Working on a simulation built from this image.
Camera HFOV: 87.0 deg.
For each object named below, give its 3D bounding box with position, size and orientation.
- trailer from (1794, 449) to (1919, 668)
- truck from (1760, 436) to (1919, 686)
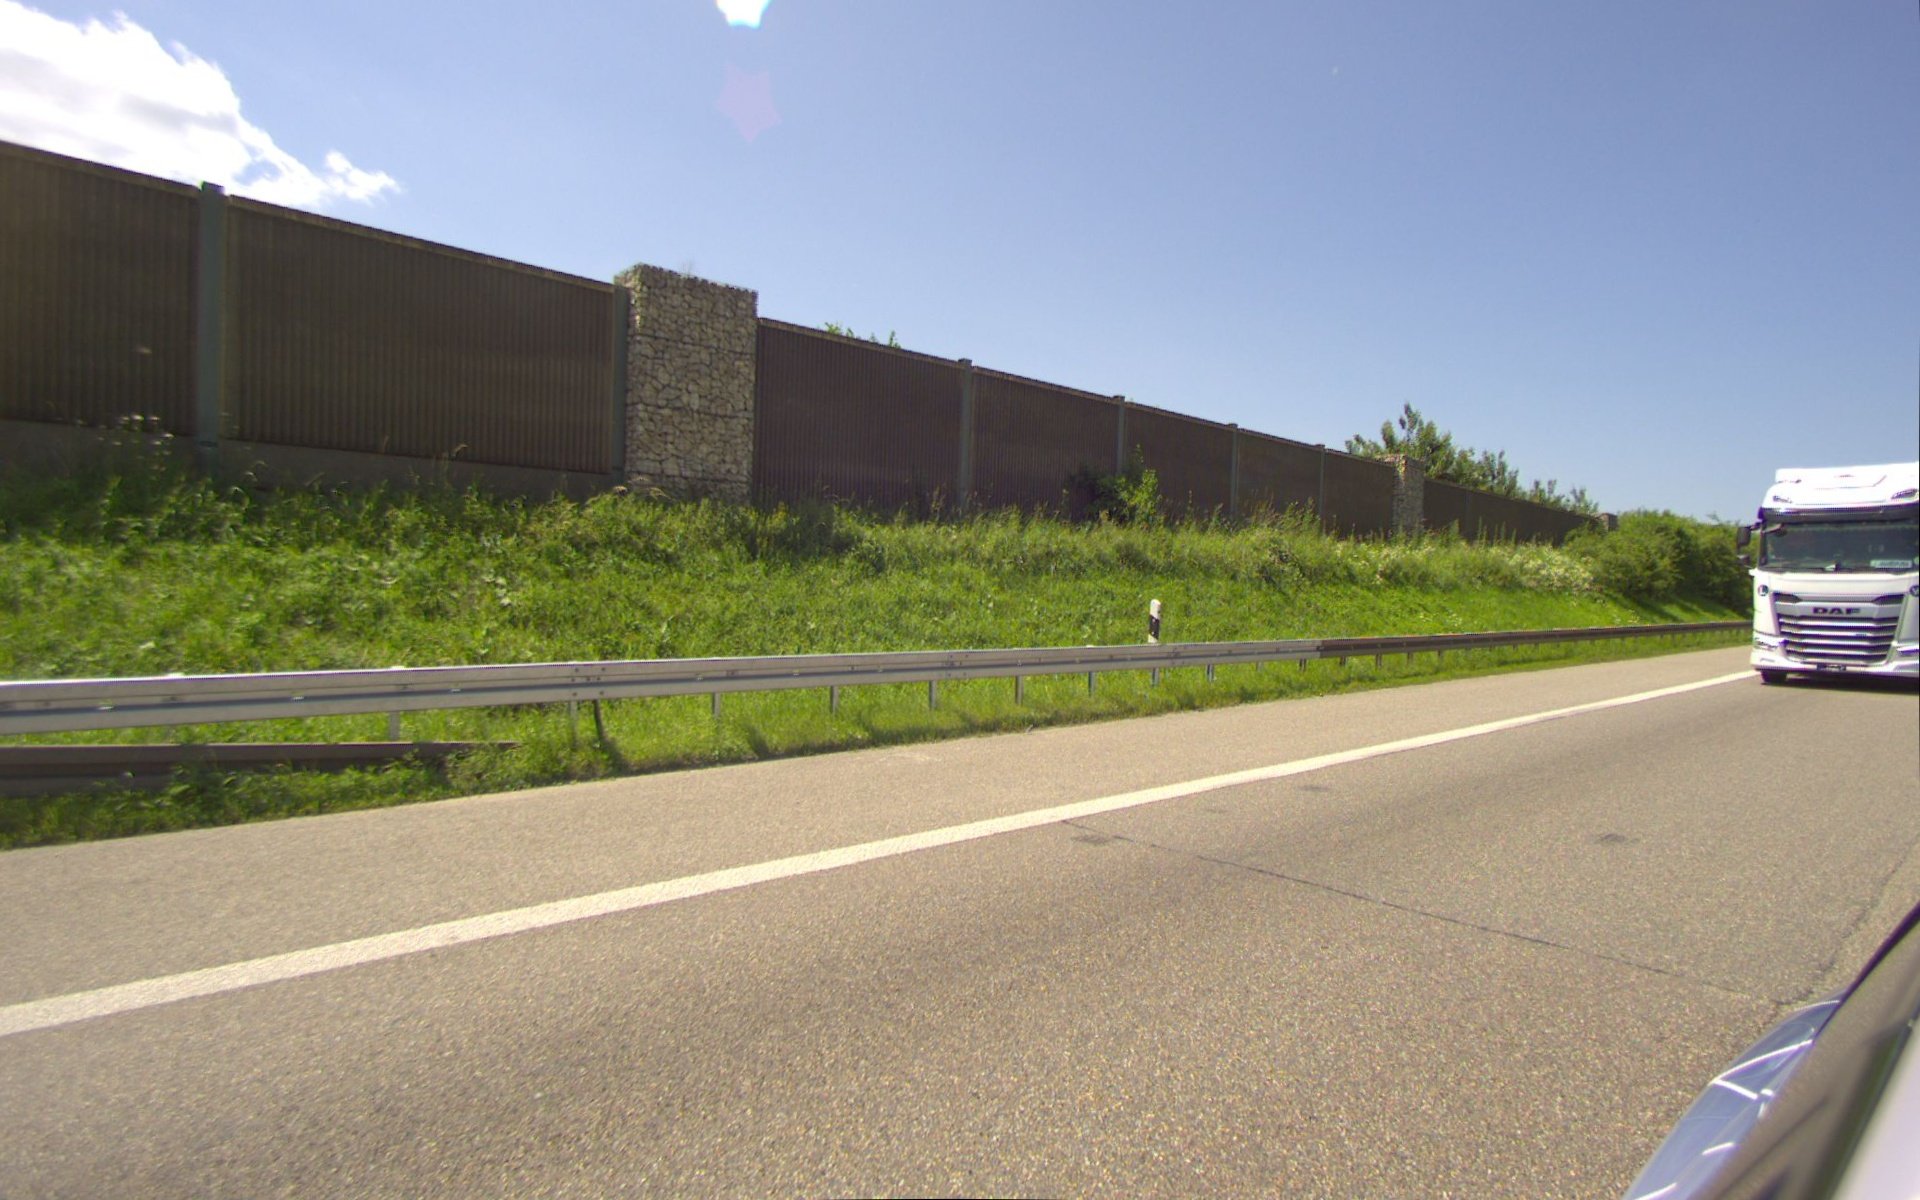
[{"bbox_3d":[22.230,-0.789,23.465,13.420,4.027,2.482,0,1,-42],"label":"trailer"},{"bbox_3d":[17.231,-0.647,18.957,6.271,4.027,2.482,0,1,-42],"label":"truck"}]
